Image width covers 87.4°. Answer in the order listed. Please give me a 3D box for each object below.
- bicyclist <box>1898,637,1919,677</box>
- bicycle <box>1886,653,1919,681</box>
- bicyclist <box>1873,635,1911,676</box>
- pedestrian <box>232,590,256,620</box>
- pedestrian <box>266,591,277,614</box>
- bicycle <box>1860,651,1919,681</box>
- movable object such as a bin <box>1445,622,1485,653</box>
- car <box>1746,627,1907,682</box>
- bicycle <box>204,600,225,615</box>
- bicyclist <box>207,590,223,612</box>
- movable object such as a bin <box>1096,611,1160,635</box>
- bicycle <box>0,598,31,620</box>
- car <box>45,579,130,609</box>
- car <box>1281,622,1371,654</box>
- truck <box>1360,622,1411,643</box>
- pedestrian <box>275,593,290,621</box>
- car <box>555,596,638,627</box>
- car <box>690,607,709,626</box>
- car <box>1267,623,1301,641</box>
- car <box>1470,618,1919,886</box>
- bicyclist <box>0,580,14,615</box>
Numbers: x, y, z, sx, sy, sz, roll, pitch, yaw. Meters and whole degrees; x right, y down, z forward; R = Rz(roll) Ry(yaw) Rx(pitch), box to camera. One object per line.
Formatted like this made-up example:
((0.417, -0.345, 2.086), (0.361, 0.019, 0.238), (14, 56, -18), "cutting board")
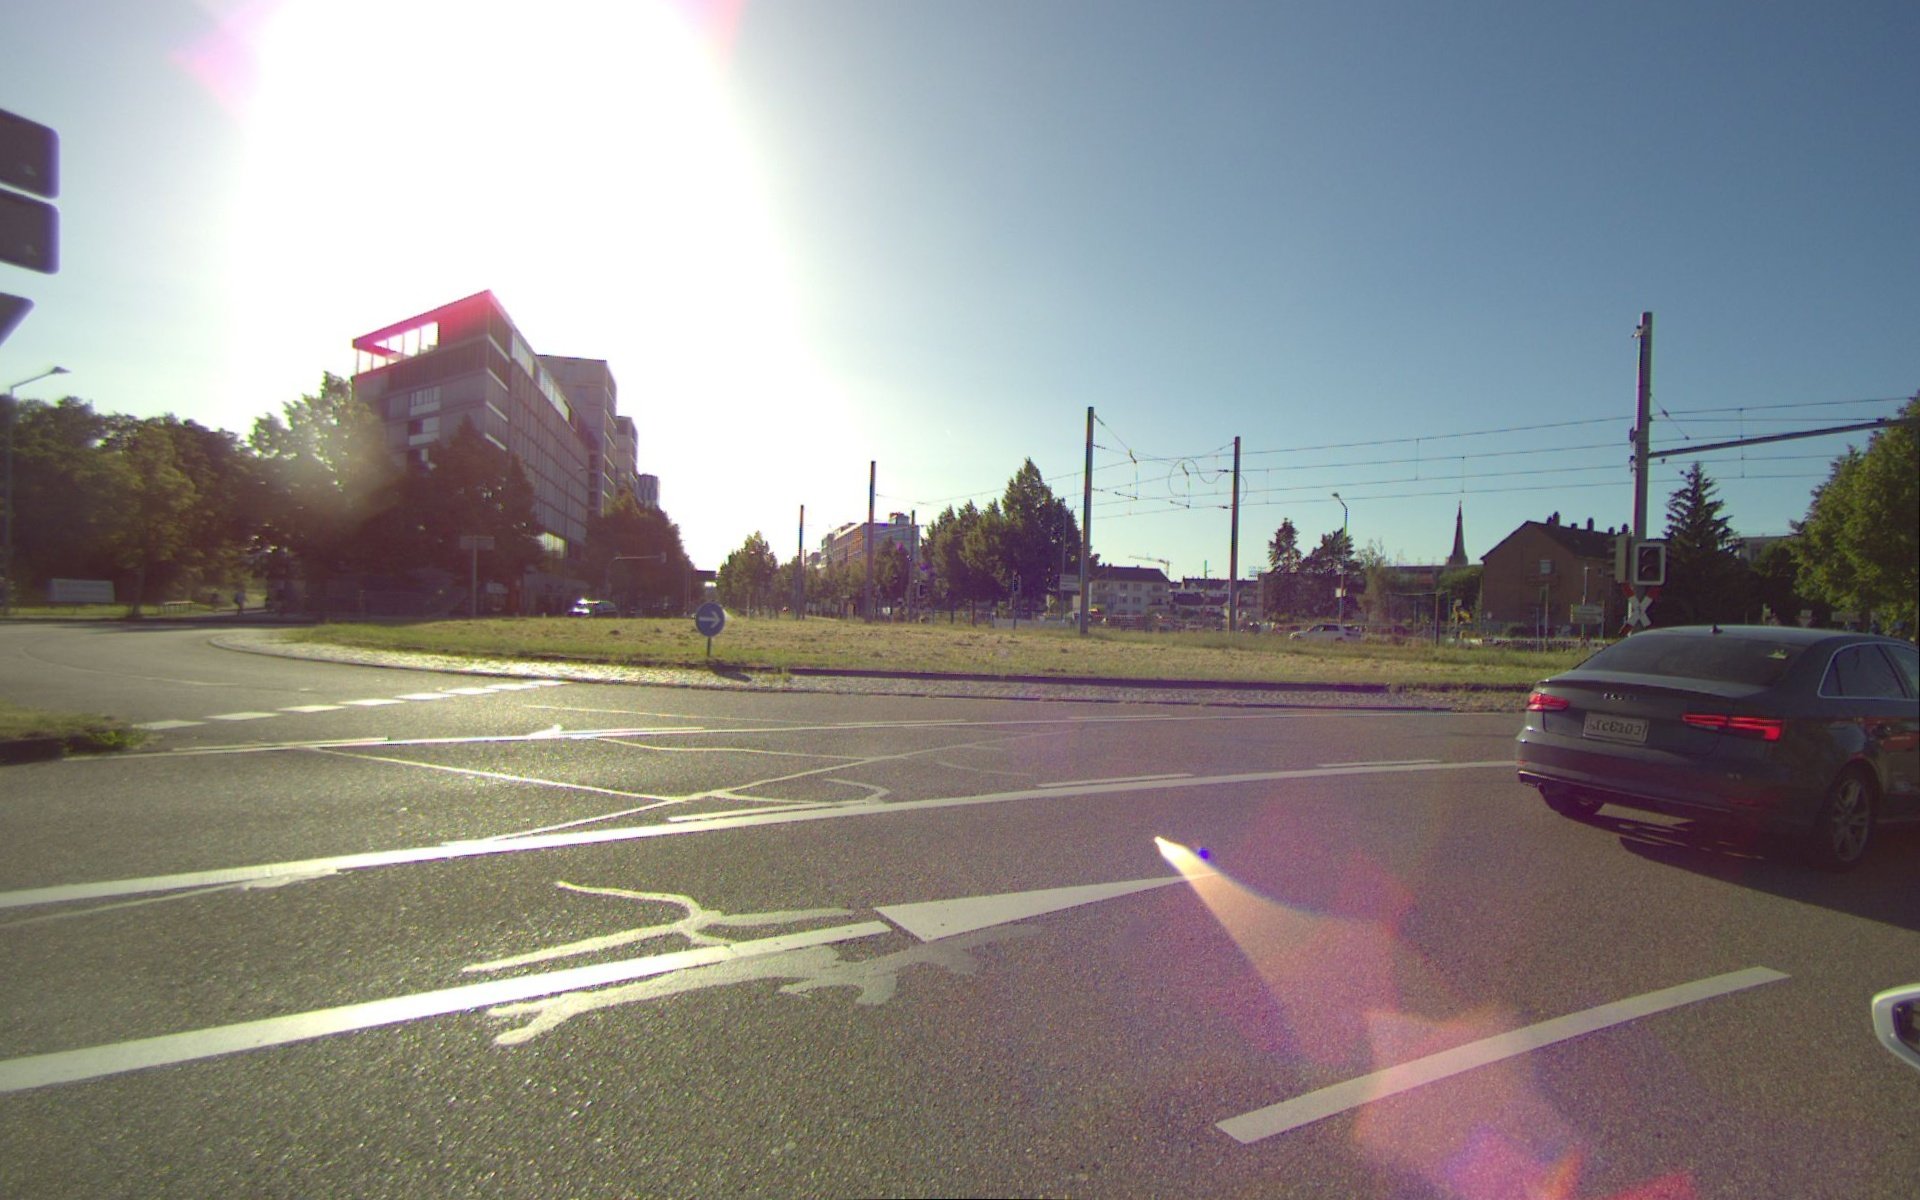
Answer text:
((46.328, 2.756, 48.615), (0.799, 1.876, 1.022), (4, -1, -17), "bicyclist")
((46.311, 3.289, 48.519), (0.805, 1.282, 2.202), (4, -1, -16), "bicycle")
((45.149, 2.673, 48.673), (0.799, 1.876, 1.022), (4, -1, -17), "bicyclist")
((-40.554, 0.278, 56.894), (0.869, 1.651, 0.760), (2, 0, 29), "pedestrian")
((-50.080, 0.188, 73.070), (0.497, 1.711, 0.551), (2, 0, -24), "pedestrian")
((45.140, 3.207, 48.627), (0.805, 1.282, 2.202), (4, -1, -16), "bicycle")
((48.528, 3.583, 96.604), (2.378, 2.809, 4.003), (4, -1, 12), "movable object such as a bin")
((29.183, 1.789, 34.039), (1.959, 1.596, 4.410), (2, 0, 6), "car")
((-49.997, 0.506, 67.359), (0.578, 1.025, 1.862), (3, -2, -19), "bicycle")
((-49.972, 0.077, 67.375), (0.578, 1.487, 0.753), (3, -1, -19), "bicyclist")
((22.531, 3.086, 134.776), (7.793, 2.819, 2.937), (2, 0, -11), "movable object such as a bin")
((-44.500, 0.426, 46.394), (0.650, 1.001, 2.261), (2, -1, 23), "bicycle")
((-56.228, -0.381, 64.806), (1.806, 1.830, 3.736), (2, 0, 31), "car")
((20.861, 2.138, 57.348), (1.987, 1.661, 4.350), (2, 0, -44), "car")
((49.247, 3.760, 116.435), (2.133, 2.040, 6.423), (4, -1, -11), "truck")
((-42.695, 0.443, 63.303), (0.672, 1.705, 0.879), (2, 0, -37), "pedestrian")
((-23.533, 0.767, 65.266), (2.413, 1.808, 5.015), (2, -1, 19), "car")
((-26.587, 1.666, 102.613), (1.745, 1.808, 3.907), (2, -1, -13), "car")
((42.244, 4.140, 131.128), (1.969, 2.040, 4.481), (4, -1, -18), "car")
((5.869, 0.881, 7.085), (4.298, 1.398, 1.755), (1, 0, -24), "car")
((-44.462, -0.130, 46.419), (0.650, 1.601, 0.834), (2, 0, 23), "bicyclist")
